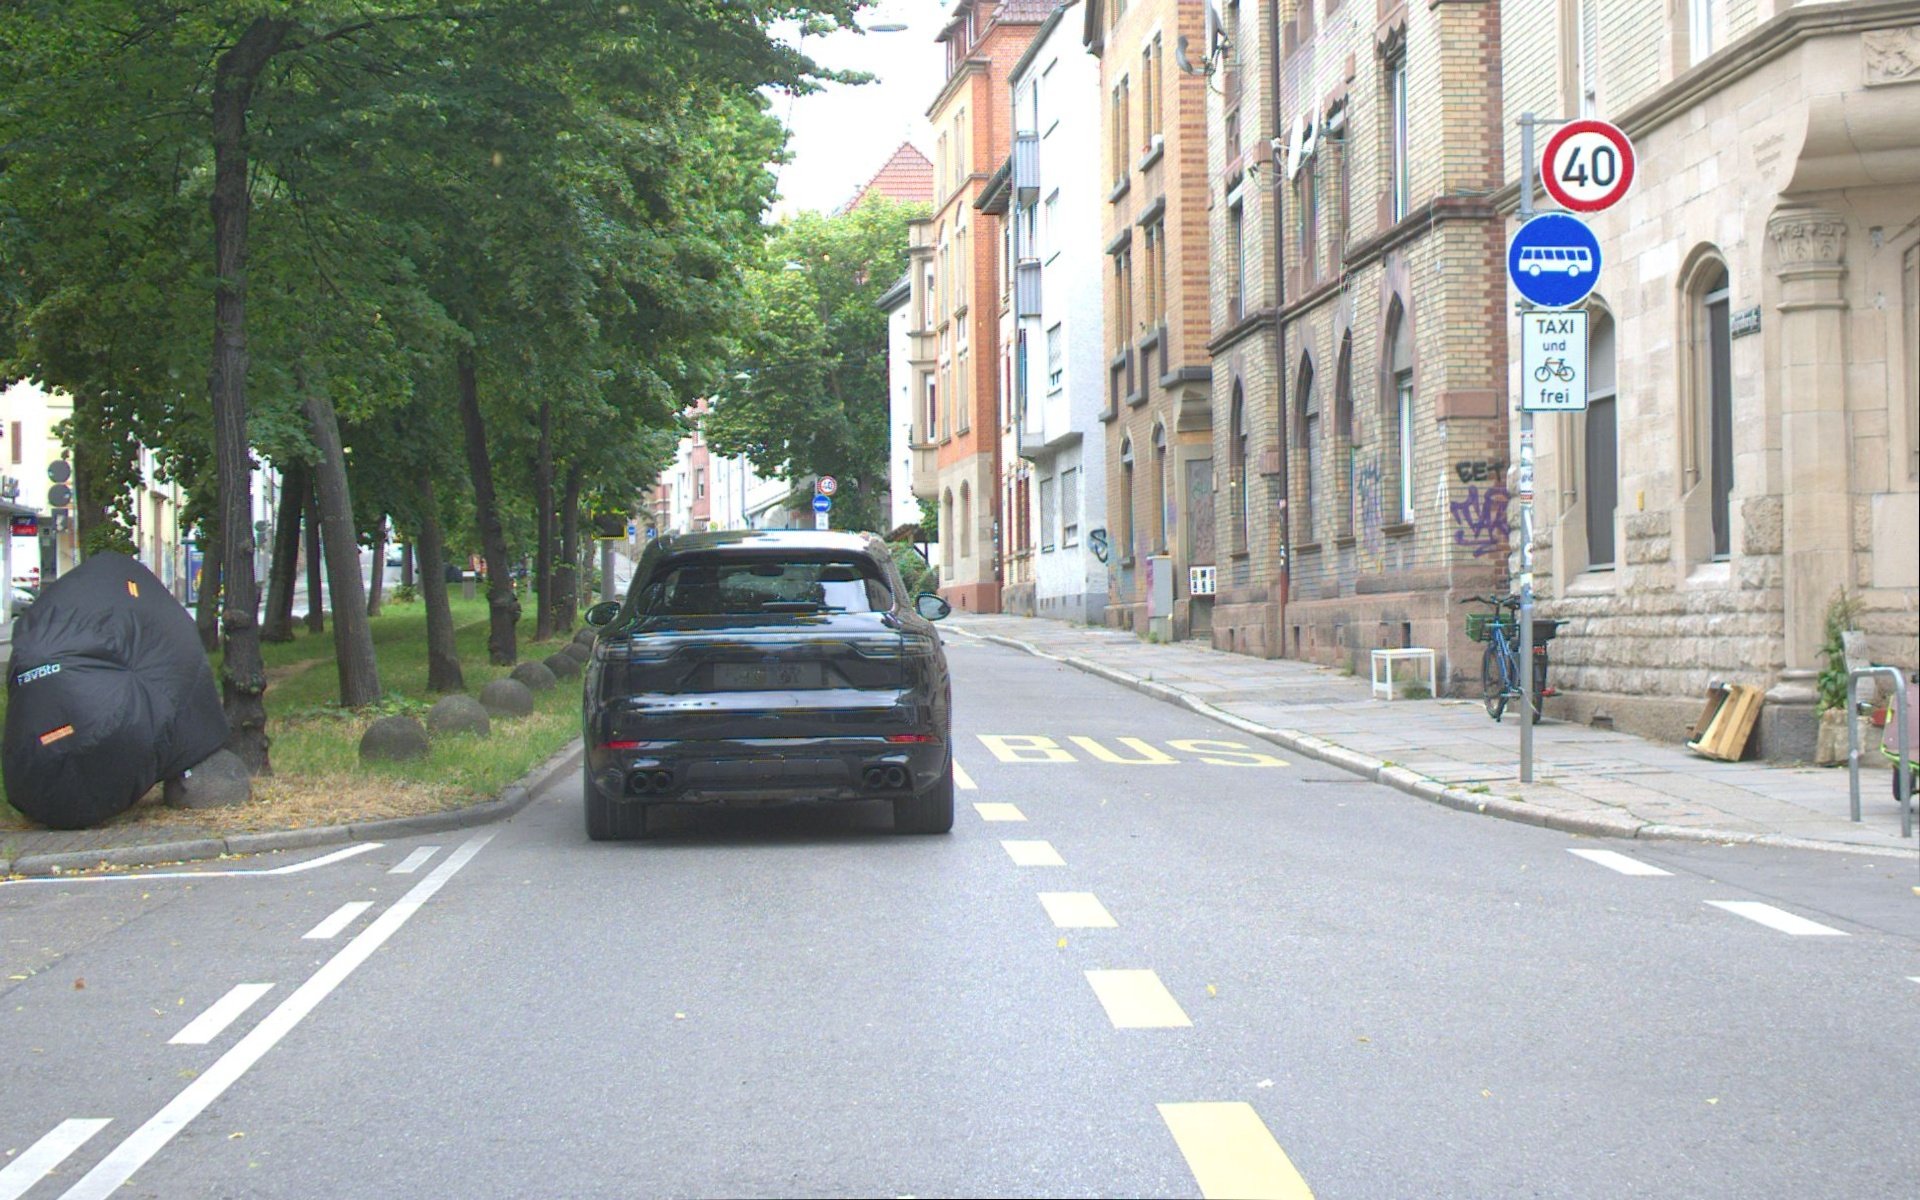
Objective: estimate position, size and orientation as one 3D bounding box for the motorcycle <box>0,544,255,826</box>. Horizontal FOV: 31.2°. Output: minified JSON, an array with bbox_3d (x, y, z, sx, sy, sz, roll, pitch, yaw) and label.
[{"bbox_3d":[-4.668,0.437,19.069,1.019,1.441,2.247,-2,0,-1],"label":"motorcycle"}]

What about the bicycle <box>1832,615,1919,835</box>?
[{"bbox_3d":[5.427,0.659,18.083,0.879,1.125,2.979,0,0,-1],"label":"bicycle"}]

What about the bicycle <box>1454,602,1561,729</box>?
[{"bbox_3d":[4.658,0.537,29.338,0.446,1.033,2.248,-1,0,-2],"label":"bicycle"}]

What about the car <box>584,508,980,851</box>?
[{"bbox_3d":[-1.036,0.357,19.470,1.993,1.659,4.001,1,3,-4],"label":"car"}]
